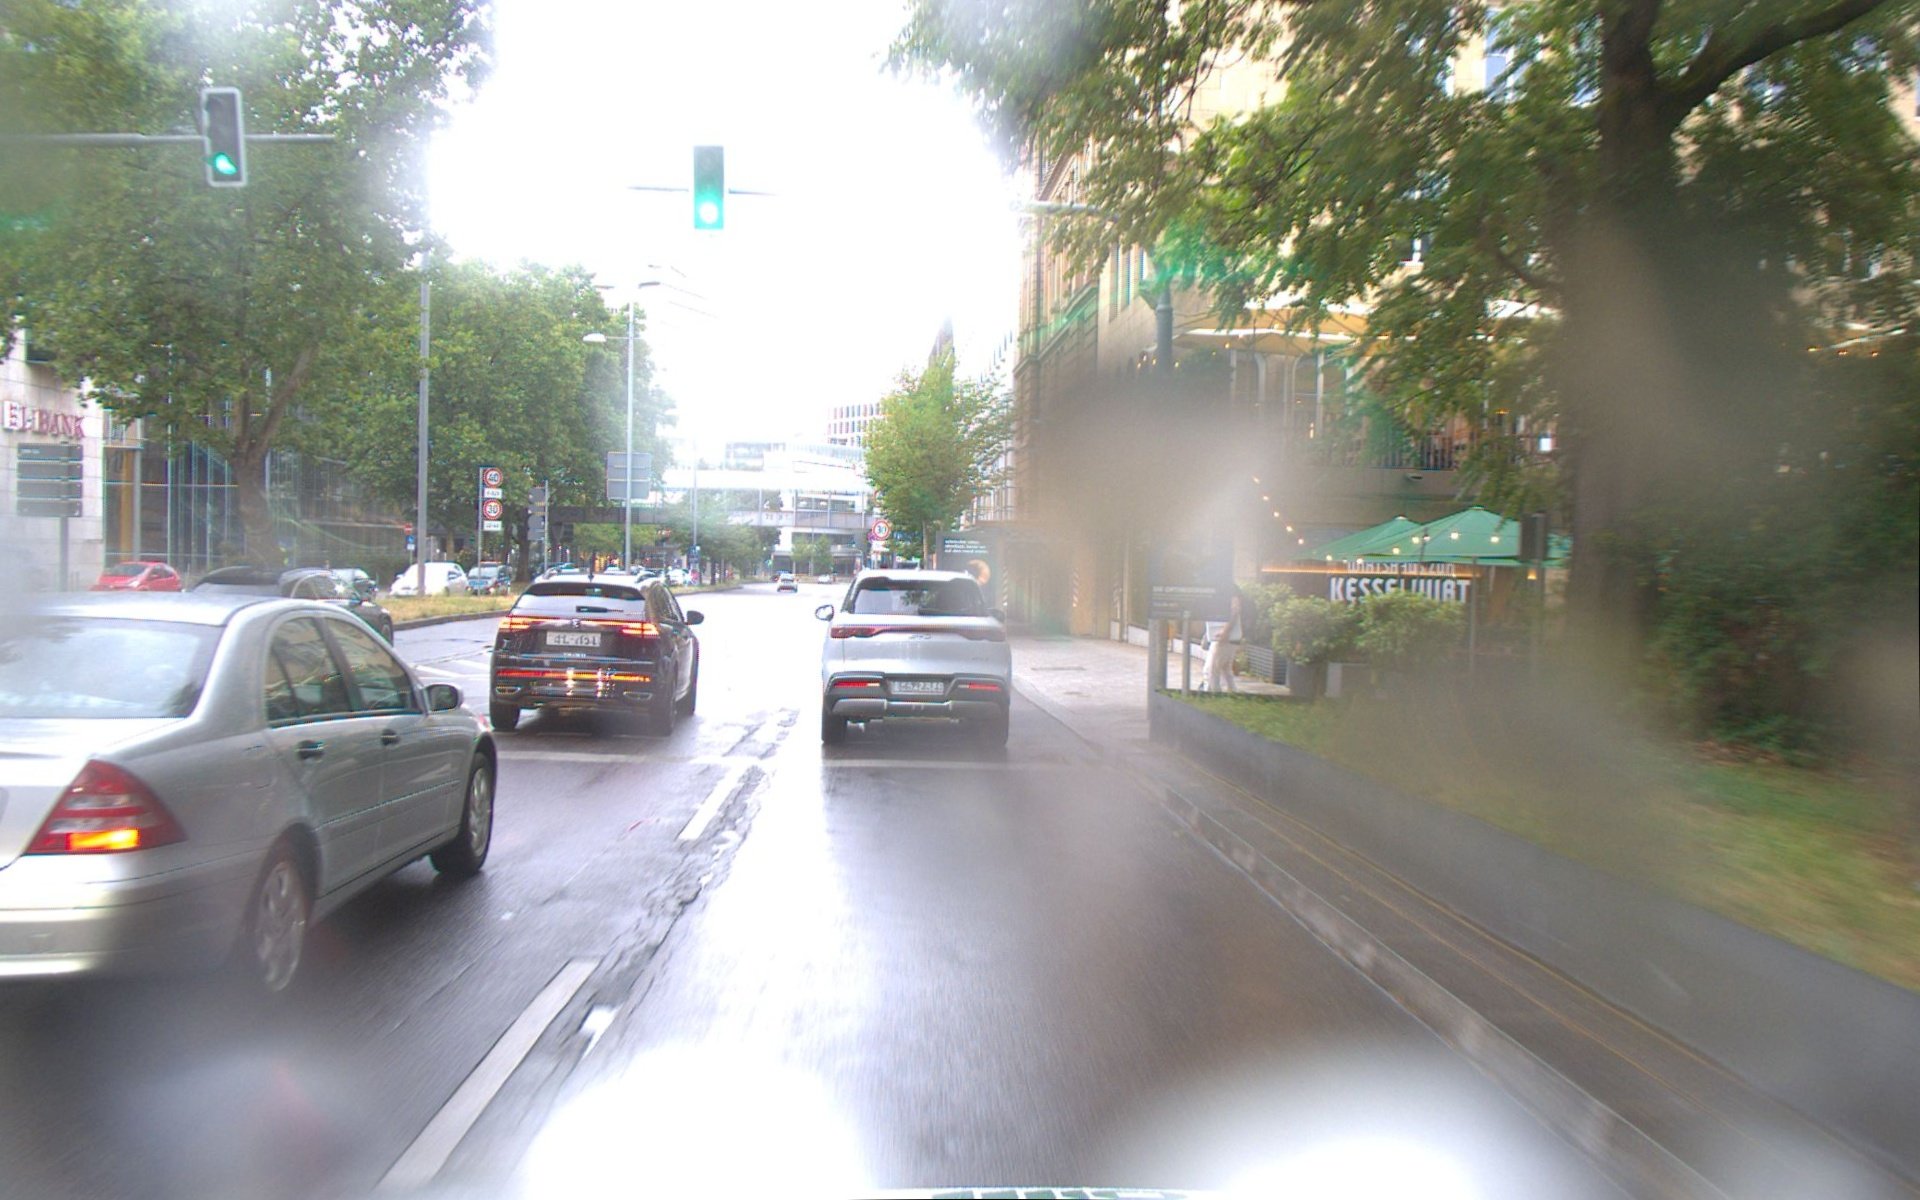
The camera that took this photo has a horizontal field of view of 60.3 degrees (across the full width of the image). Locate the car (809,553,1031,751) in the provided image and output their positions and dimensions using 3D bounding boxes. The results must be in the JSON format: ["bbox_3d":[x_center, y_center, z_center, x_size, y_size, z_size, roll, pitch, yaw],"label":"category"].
[{"bbox_3d":[-0.375,0.448,16.829,1.907,1.695,4.345,2,0,-1],"label":"car"}]

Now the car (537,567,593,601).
[{"bbox_3d":[-18.255,-0.738,76.572,1.758,1.536,4.497,-1,1,-3],"label":"car"}]

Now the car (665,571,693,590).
[{"bbox_3d":[-23.363,-1.597,137.688,1.758,1.536,4.342,-1,1,-3],"label":"car"}]

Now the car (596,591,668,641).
[{"bbox_3d":[-10.450,0.483,52.934,1.657,1.488,4.342,-1,1,-3],"label":"car"}]

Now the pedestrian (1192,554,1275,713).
[{"bbox_3d":[3.191,0.386,19.331,0.841,1.811,0.718,1,0,2],"label":"pedestrian"}]

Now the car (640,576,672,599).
[{"bbox_3d":[-21.626,-0.894,117.771,1.758,1.536,4.342,-1,1,-3],"label":"car"}]

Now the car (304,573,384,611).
[{"bbox_3d":[-24.349,-0.316,65.517,1.812,1.390,4.236,1,0,-4],"label":"car"}]

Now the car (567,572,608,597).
[{"bbox_3d":[-23.307,-0.961,103.541,1.758,1.536,4.497,-1,1,-3],"label":"car"}]

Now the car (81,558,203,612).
[{"bbox_3d":[-26.757,-0.484,54.260,1.653,1.671,4.241,1,0,3],"label":"car"}]

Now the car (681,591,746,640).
[{"bbox_3d":[-7.853,0.462,53.087,1.657,1.488,4.342,-1,1,-3],"label":"car"}]

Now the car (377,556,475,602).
[{"bbox_3d":[-18.104,-0.711,56.255,2.116,1.488,4.342,-1,1,-3],"label":"car"}]

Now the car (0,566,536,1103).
[{"bbox_3d":[-3.108,0.633,6.761,1.657,1.488,4.345,-1,1,-1],"label":"car"}]

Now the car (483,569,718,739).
[{"bbox_3d":[-3.514,0.452,16.888,1.657,1.488,4.342,-1,1,-3],"label":"car"}]

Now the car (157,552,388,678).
[{"bbox_3d":[-9.786,0.162,23.876,1.665,1.648,4.000,1,1,0],"label":"car"}]

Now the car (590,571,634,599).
[{"bbox_3d":[-19.926,-0.866,94.840,1.758,1.536,4.497,-1,1,-3],"label":"car"}]

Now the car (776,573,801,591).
[{"bbox_3d":[-14.778,-1.540,142.396,1.939,1.488,4.342,-1,1,-4],"label":"car"}]

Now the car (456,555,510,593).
[{"bbox_3d":[-25.229,-1.356,87.638,1.758,1.942,4.497,-1,1,-3],"label":"car"}]

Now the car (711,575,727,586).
[{"bbox_3d":[-32.819,-2.668,225.629,1.758,1.536,4.342,-1,1,-3],"label":"car"}]

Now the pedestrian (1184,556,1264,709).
[{"bbox_3d":[3.199,0.384,20.093,0.841,1.811,0.718,1,0,2],"label":"pedestrian"}]
